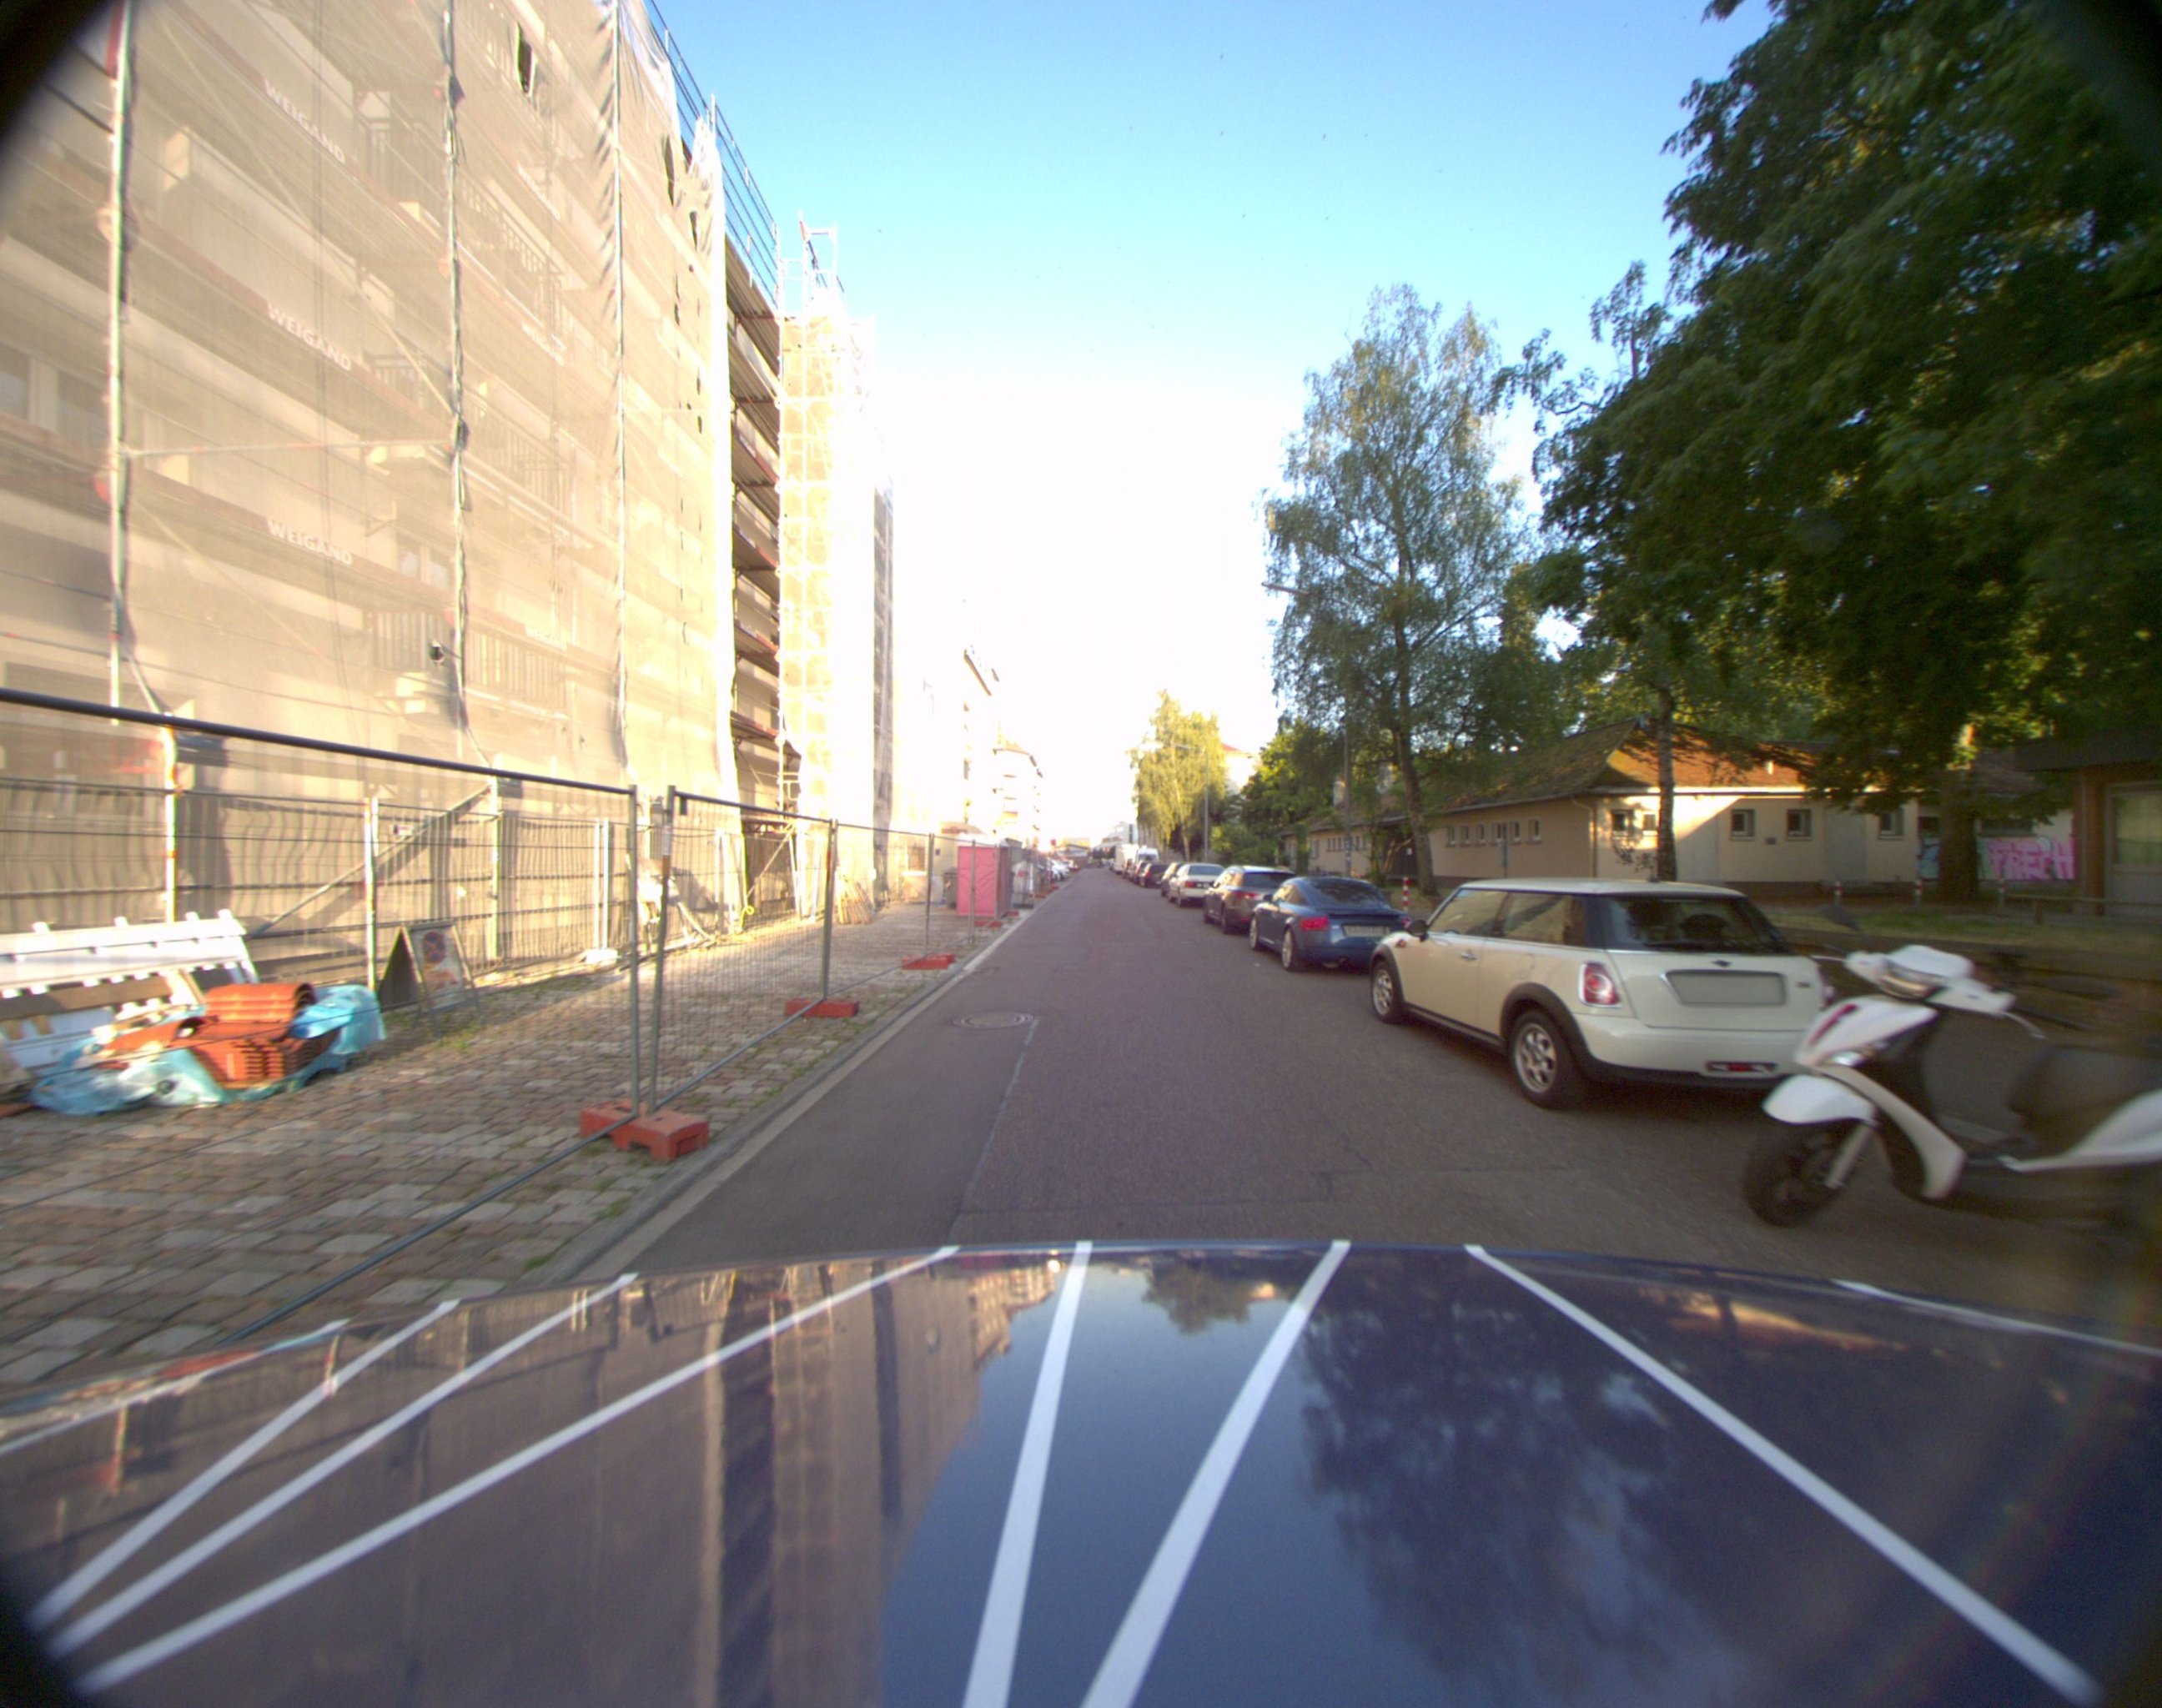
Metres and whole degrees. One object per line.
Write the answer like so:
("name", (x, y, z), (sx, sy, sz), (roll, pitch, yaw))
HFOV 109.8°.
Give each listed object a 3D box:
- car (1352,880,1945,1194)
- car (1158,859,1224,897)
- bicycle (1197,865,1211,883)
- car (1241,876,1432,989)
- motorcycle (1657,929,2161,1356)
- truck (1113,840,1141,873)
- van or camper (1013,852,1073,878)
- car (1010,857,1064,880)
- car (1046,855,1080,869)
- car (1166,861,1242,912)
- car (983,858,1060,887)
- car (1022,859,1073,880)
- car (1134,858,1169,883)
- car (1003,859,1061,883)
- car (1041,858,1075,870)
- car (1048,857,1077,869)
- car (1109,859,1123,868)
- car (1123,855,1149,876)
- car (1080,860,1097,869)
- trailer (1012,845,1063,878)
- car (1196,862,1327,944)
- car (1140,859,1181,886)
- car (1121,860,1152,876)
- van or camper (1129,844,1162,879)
("car", (3.583, 1.005, 5.788), (1.605, 1.423, 3.803), (2, 0, 0))
("car", (4.402, 0.934, 31.061), (1.999, 1.444, 3.999), (-1, 0, -2))
("bicycle", (7.791, 1.271, 48.175), (0.544, 1.111, 1.955), (-1, 0, 0))
("car", (3.718, 1.072, 11.853), (1.663, 1.306, 4.155), (1, 0, 2))
("motorcycle", (3.655, 0.981, 2.876), (2.167, 1.296, 0.881), (-1, 0, 15))
("truck", (4.965, 0.293, 83.294), (2.532, 3.334, 8.018), (2, 0, 1))
("van or camper", (-3.113, 0.908, 63.348), (4.846, 2.084, 2.041), (0, 0, 0))
("car", (-3.349, 1.077, 57.981), (3.997, 1.718, 1.999), (0, 1, -1))
("car", (-2.496, 1.155, 106.851), (4.685, 1.988, 2.000), (0, 0, 2))
("car", (4.004, 1.008, 25.452), (1.787, 1.437, 4.748), (2, 0, 1))
("car", (-3.363, 1.026, 43.357), (4.163, 1.606, 1.872), (0, 0, 3))
("car", (-2.639, 1.197, 60.608), (3.997, 1.630, 2.000), (0, 0, -1))
("car", (4.535, 1.026, 49.452), (1.998, 1.510, 4.789), (-1, 0, 2))
("car", (-3.406, 1.169, 53.356), (3.998, 1.628, 1.903), (0, 0, -2))
("car", (-2.959, 1.265, 98.896), (4.310, 1.532, 1.924), (0, 0, 2))
("car", (-2.525, 1.256, 103.942), (3.997, 1.619, 1.784), (0, 0, -1))
("car", (5.870, 1.642, 127.292), (1.999, 1.481, 4.432), (-1, -1, 0))
("car", (4.724, 0.975, 66.014), (1.915, 1.777, 4.949), (1, 0, 0))
("car", (1.172, 1.748, 126.119), (2.000, 1.481, 4.428), (-1, -1, -11))
("trailer", (-3.184, 0.548, 55.898), (3.577, 2.323, 1.940), (2, 0, -2))
("car", (3.864, 0.974, 17.138), (1.864, 1.529, 4.759), (1, 0, 1))
("car", (4.478, 1.035, 43.207), (1.998, 1.444, 4.288), (-1, 0, 2))
("car", (4.446, 1.111, 61.371), (1.999, 1.182, 4.035), (-1, 0, -4))
("van or camper", (4.666, 0.558, 55.550), (1.998, 2.442, 6.083), (0, 0, 1))
